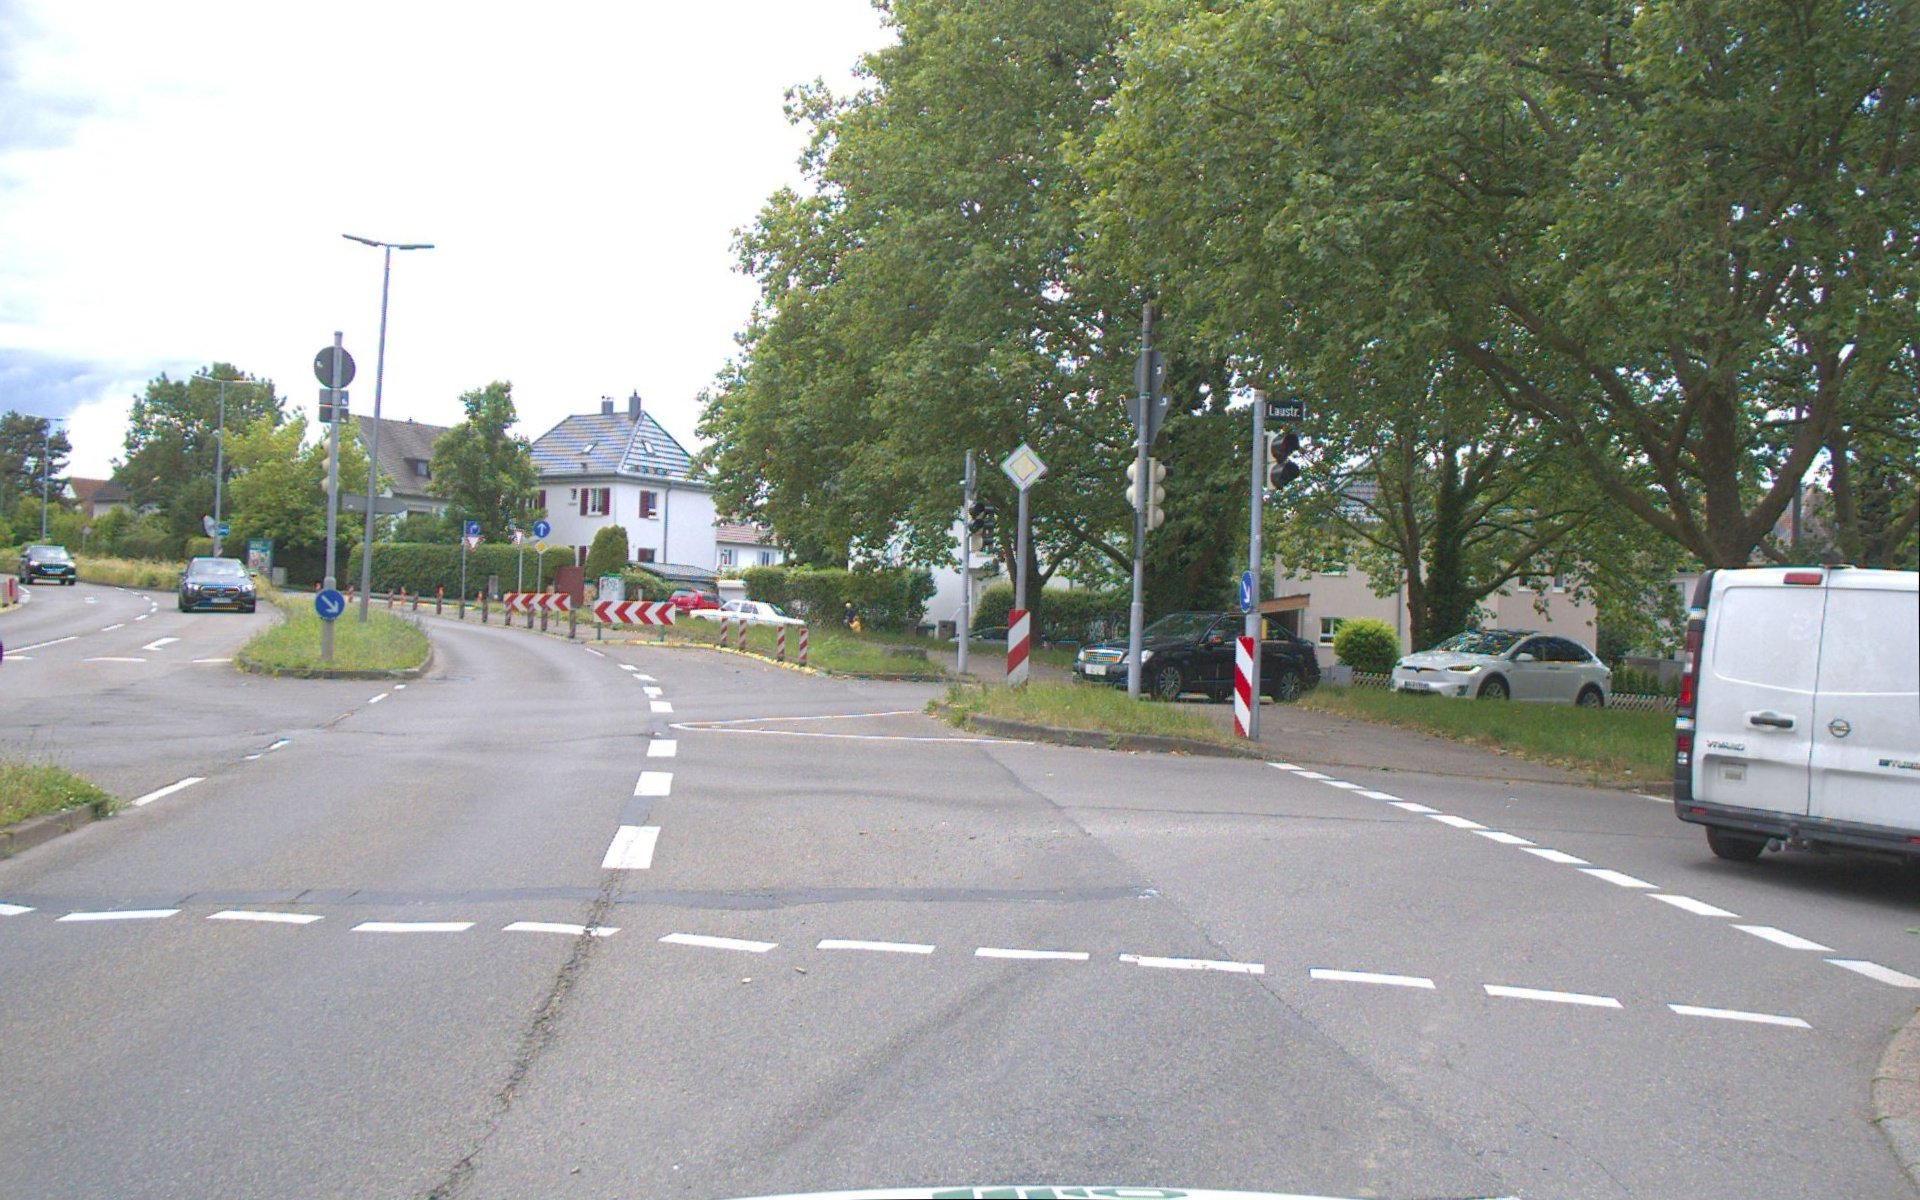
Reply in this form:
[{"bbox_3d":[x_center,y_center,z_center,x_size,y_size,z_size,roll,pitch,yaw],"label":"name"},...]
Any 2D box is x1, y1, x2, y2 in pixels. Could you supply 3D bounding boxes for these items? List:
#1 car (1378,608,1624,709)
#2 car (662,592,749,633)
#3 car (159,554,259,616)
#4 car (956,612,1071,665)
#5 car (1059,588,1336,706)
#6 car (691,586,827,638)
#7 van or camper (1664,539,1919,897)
[{"bbox_3d":[10.108,1.093,30.741,4.852,1.687,1.834,2,0,-36],"label":"car"},{"bbox_3d":[-11.051,0.560,72.098,1.576,1.544,3.815,3,-2,31],"label":"car"},{"bbox_3d":[-21.210,-0.452,46.649,1.825,1.660,4.208,0,1,-35],"label":"car"},{"bbox_3d":[1.993,1.401,61.198,3.901,1.540,1.663,5,1,12],"label":"car"},{"bbox_3d":[3.827,0.768,26.311,4.338,1.543,1.741,5,-2,-36],"label":"car"},{"bbox_3d":[-7.876,0.467,64.743,4.769,1.822,2.216,3,0,23],"label":"car"},{"bbox_3d":[6.983,0.729,11.490,4.784,2.049,1.902,2,0,-41],"label":"van or camper"}]
